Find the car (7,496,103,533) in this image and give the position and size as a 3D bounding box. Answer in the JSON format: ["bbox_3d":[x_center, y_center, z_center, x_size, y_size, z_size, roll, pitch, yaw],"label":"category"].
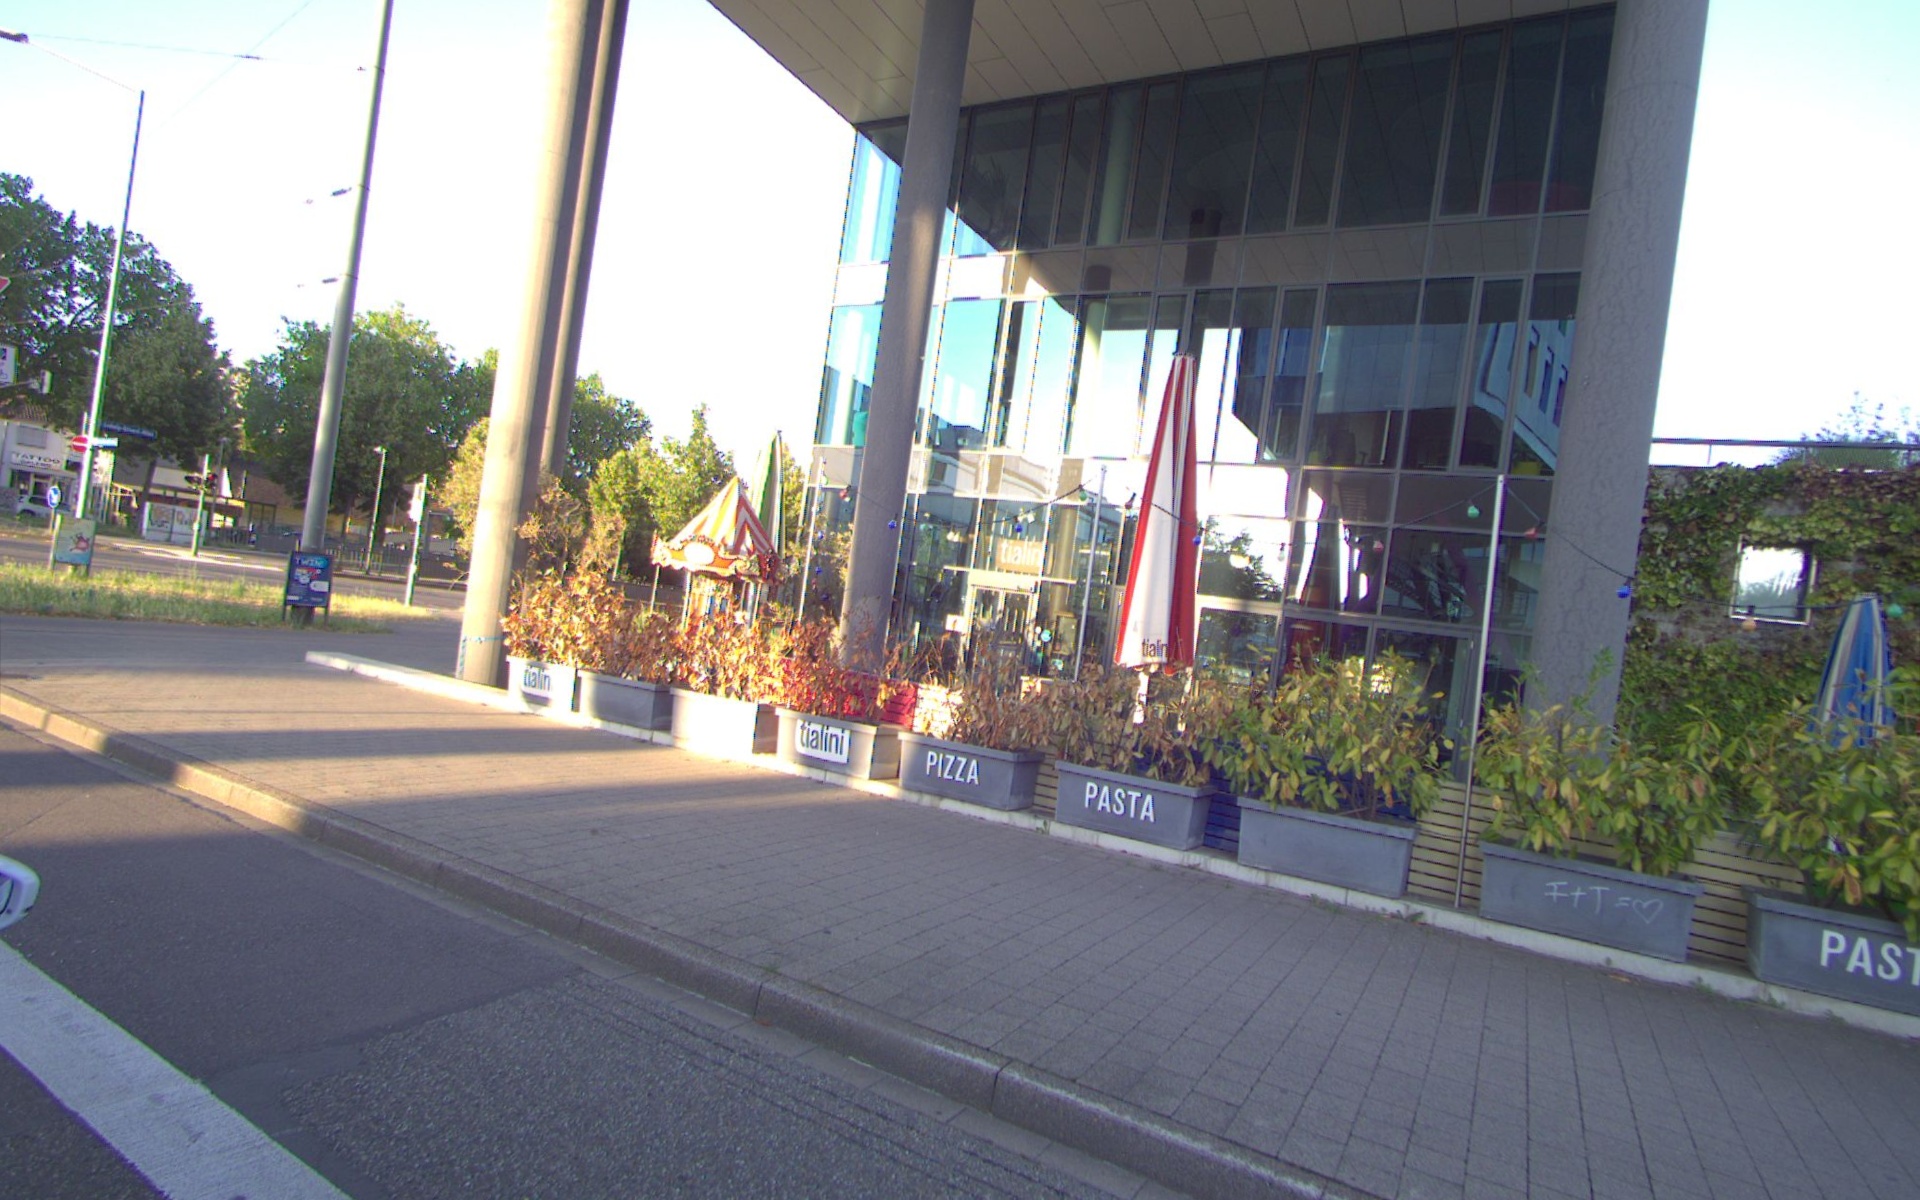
[{"bbox_3d":[-50.328,-4.743,56.000,1.641,1.456,3.736,6,-2,41],"label":"car"}]

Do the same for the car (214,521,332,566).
[{"bbox_3d":[-35.119,-2.848,51.548,1.968,1.570,4.479,6,-2,33],"label":"car"}]

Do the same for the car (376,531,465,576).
[{"bbox_3d":[-42.592,-3.663,79.549,2.197,2.581,5.594,7,-2,39],"label":"car"}]
